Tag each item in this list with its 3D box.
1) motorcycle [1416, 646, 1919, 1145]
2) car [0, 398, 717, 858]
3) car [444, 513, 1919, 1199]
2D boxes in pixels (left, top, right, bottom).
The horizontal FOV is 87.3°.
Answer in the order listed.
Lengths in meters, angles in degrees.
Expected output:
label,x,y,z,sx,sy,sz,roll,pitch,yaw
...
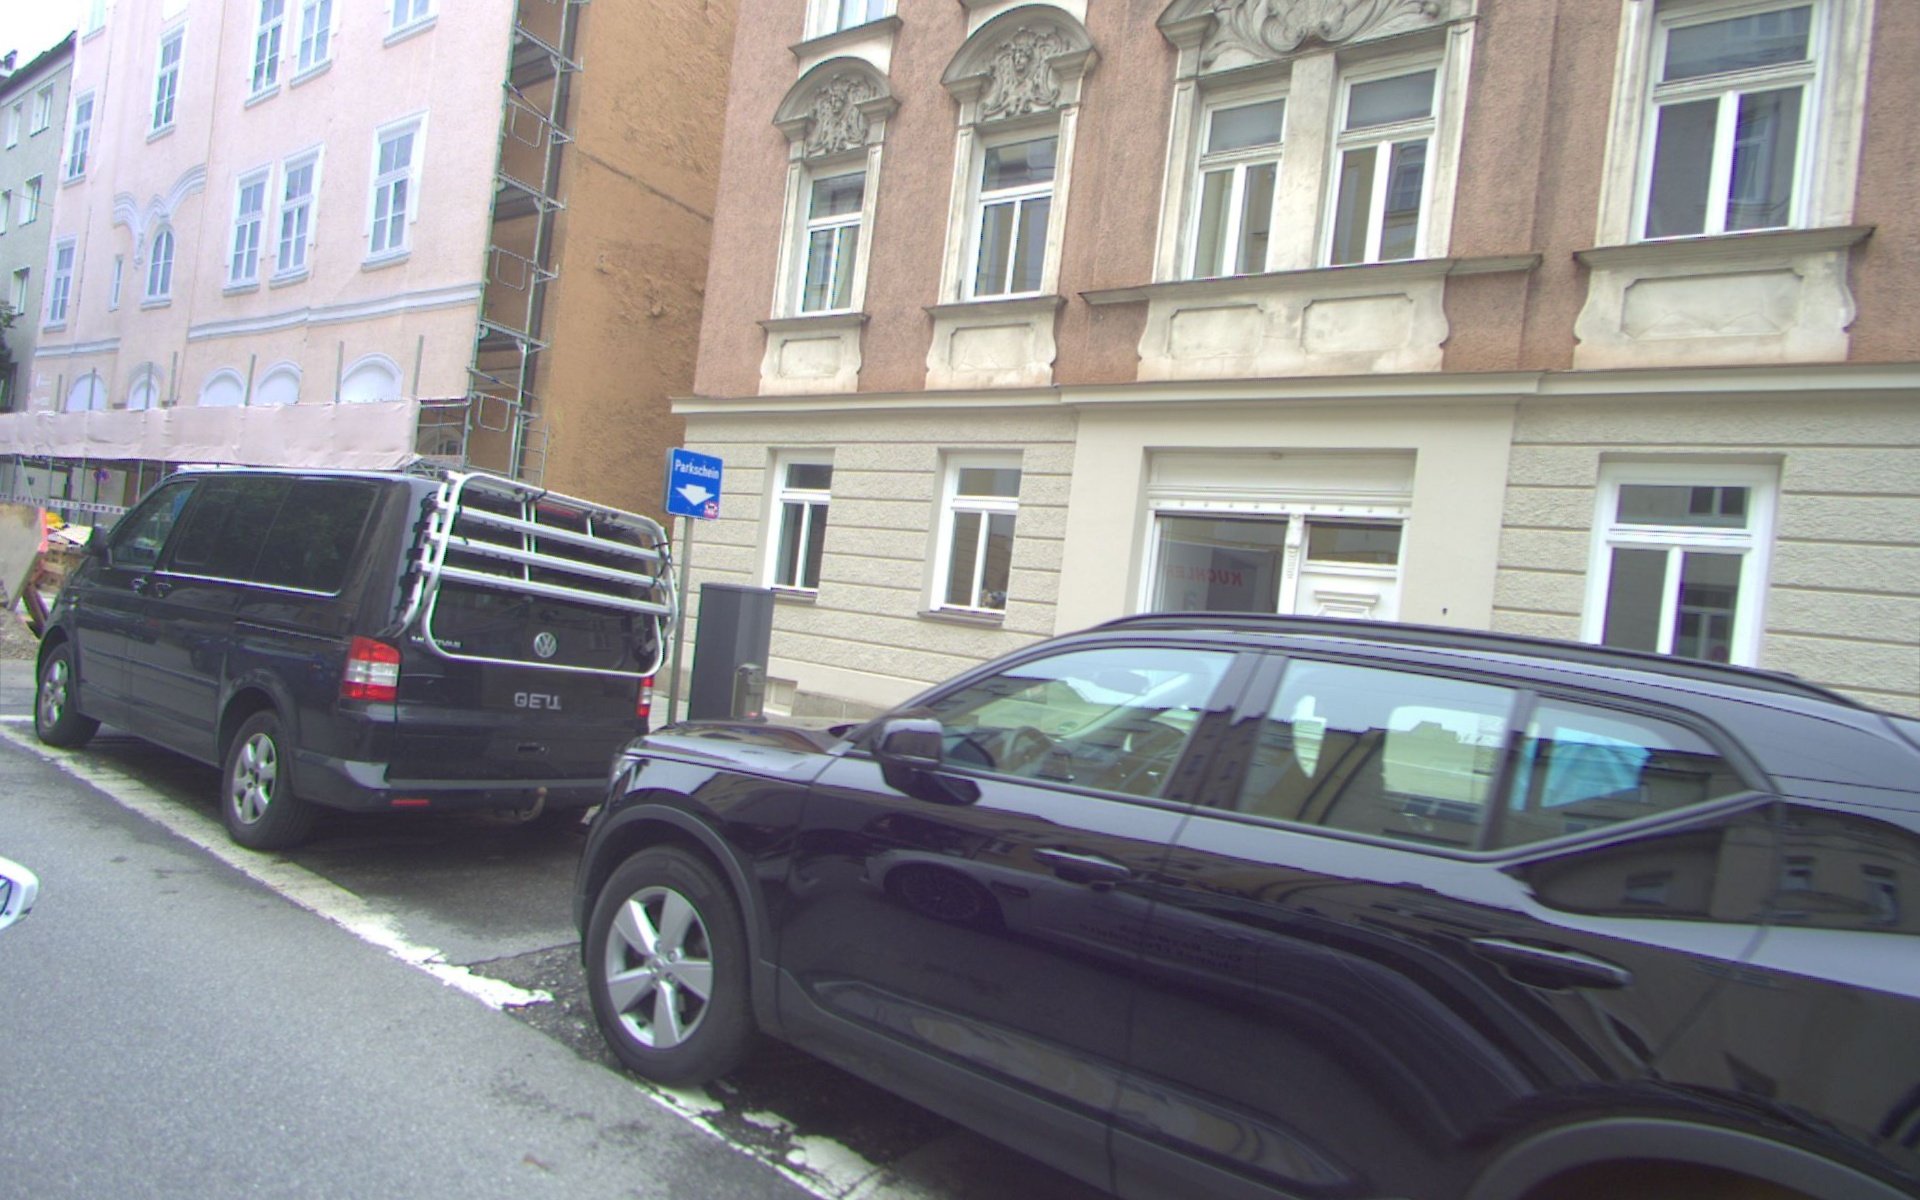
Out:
label,x,y,z,sx,sy,sz,roll,pitch,yaw
motorcycle,3.105,1.085,4.140,1.966,1.523,0.872,7,-1,35
car,-4.196,0.098,6.534,5.061,1.942,2.085,4,-4,34
car,0.515,0.824,3.095,4.338,1.694,1.697,6,-4,34
